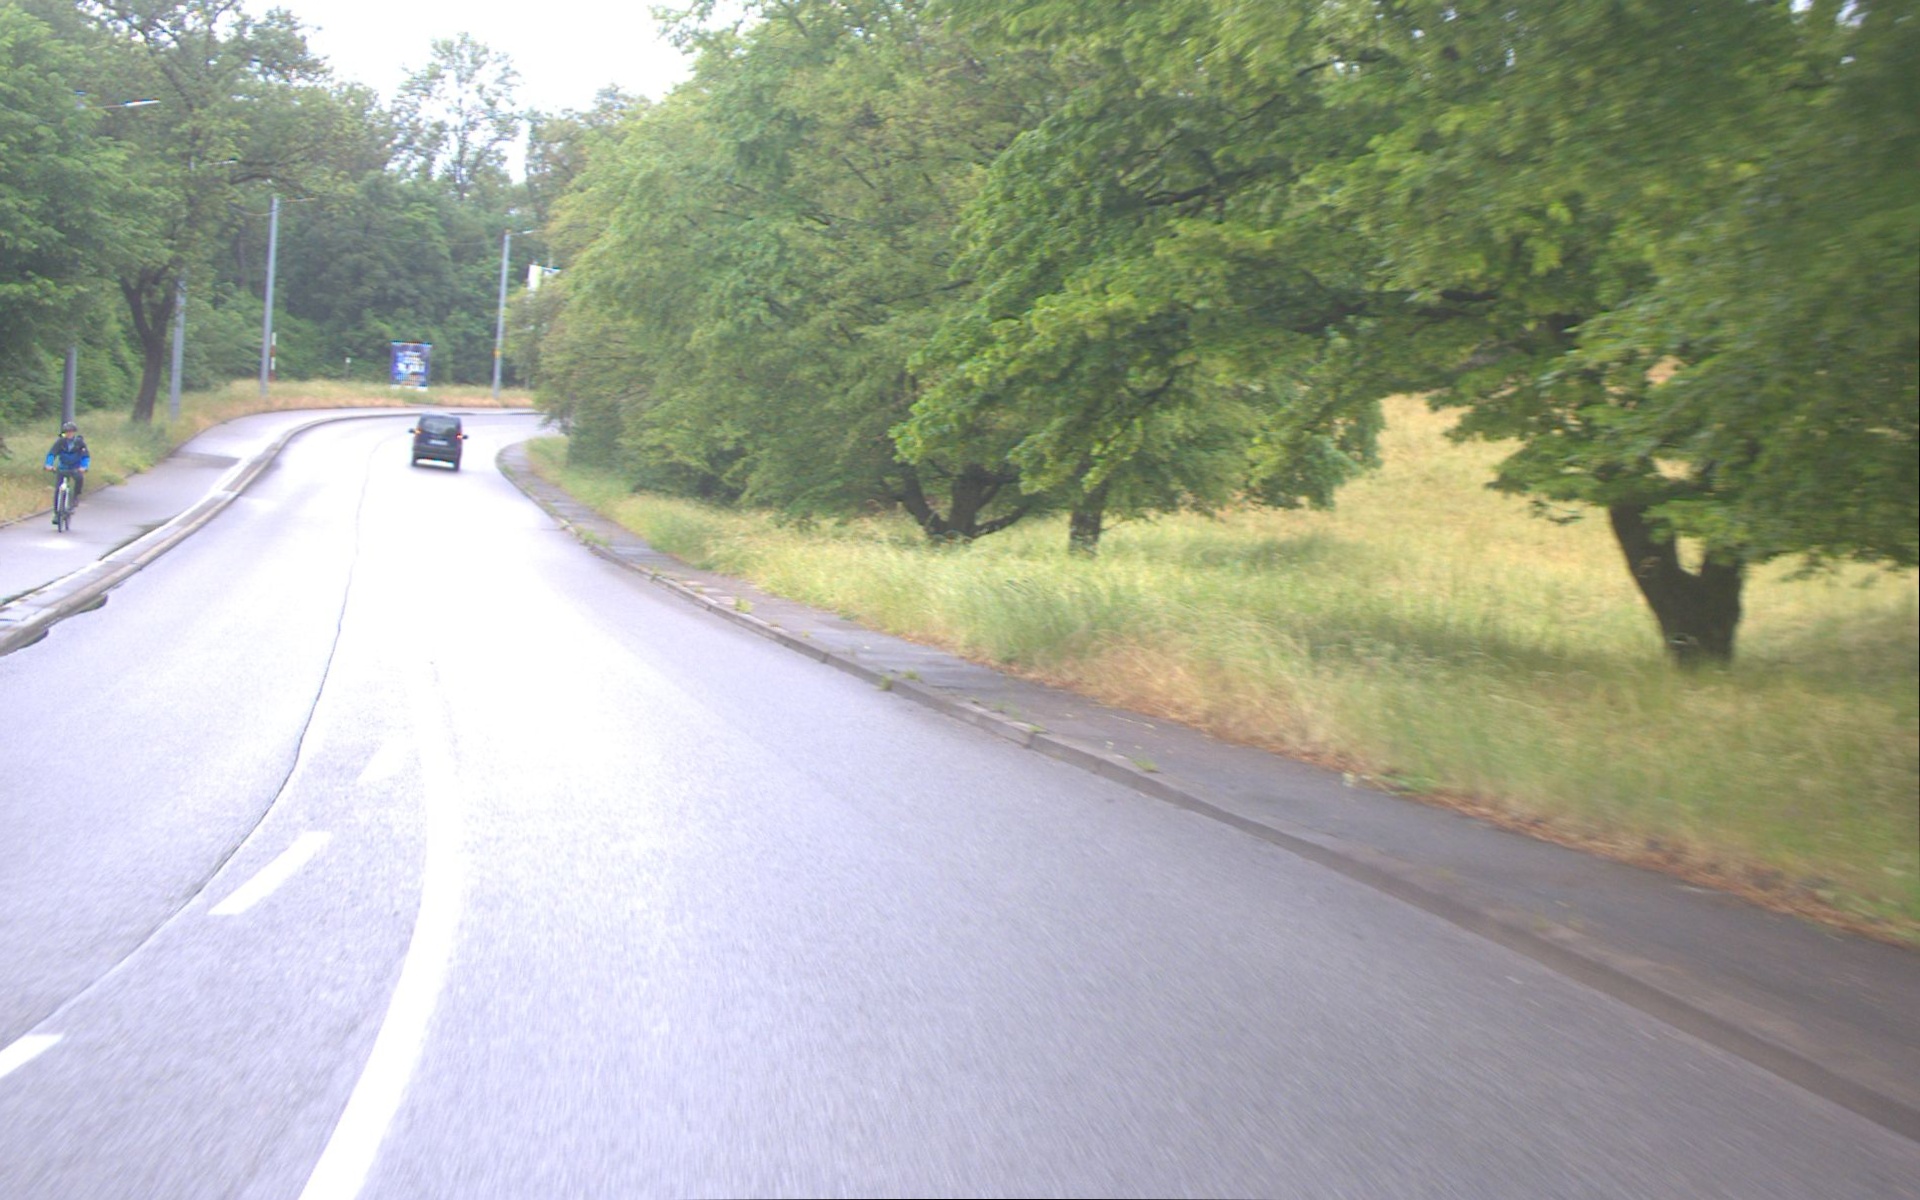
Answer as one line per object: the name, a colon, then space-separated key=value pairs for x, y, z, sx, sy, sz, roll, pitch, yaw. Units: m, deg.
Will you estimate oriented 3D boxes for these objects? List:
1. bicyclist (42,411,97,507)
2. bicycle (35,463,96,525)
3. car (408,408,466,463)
bicyclist: x=-15.151 y=-2.405 z=58.511 sx=0.708 sy=1.550 sz=1.171 roll=5 pitch=2 yaw=-10
bicycle: x=-15.185 y=-1.810 z=58.392 sx=0.724 sy=0.938 sz=2.551 roll=5 pitch=2 yaw=-10
car: x=-17.564 y=-5.525 z=115.577 sx=1.741 sy=1.711 sz=4.001 roll=4 pitch=2 yaw=-8
